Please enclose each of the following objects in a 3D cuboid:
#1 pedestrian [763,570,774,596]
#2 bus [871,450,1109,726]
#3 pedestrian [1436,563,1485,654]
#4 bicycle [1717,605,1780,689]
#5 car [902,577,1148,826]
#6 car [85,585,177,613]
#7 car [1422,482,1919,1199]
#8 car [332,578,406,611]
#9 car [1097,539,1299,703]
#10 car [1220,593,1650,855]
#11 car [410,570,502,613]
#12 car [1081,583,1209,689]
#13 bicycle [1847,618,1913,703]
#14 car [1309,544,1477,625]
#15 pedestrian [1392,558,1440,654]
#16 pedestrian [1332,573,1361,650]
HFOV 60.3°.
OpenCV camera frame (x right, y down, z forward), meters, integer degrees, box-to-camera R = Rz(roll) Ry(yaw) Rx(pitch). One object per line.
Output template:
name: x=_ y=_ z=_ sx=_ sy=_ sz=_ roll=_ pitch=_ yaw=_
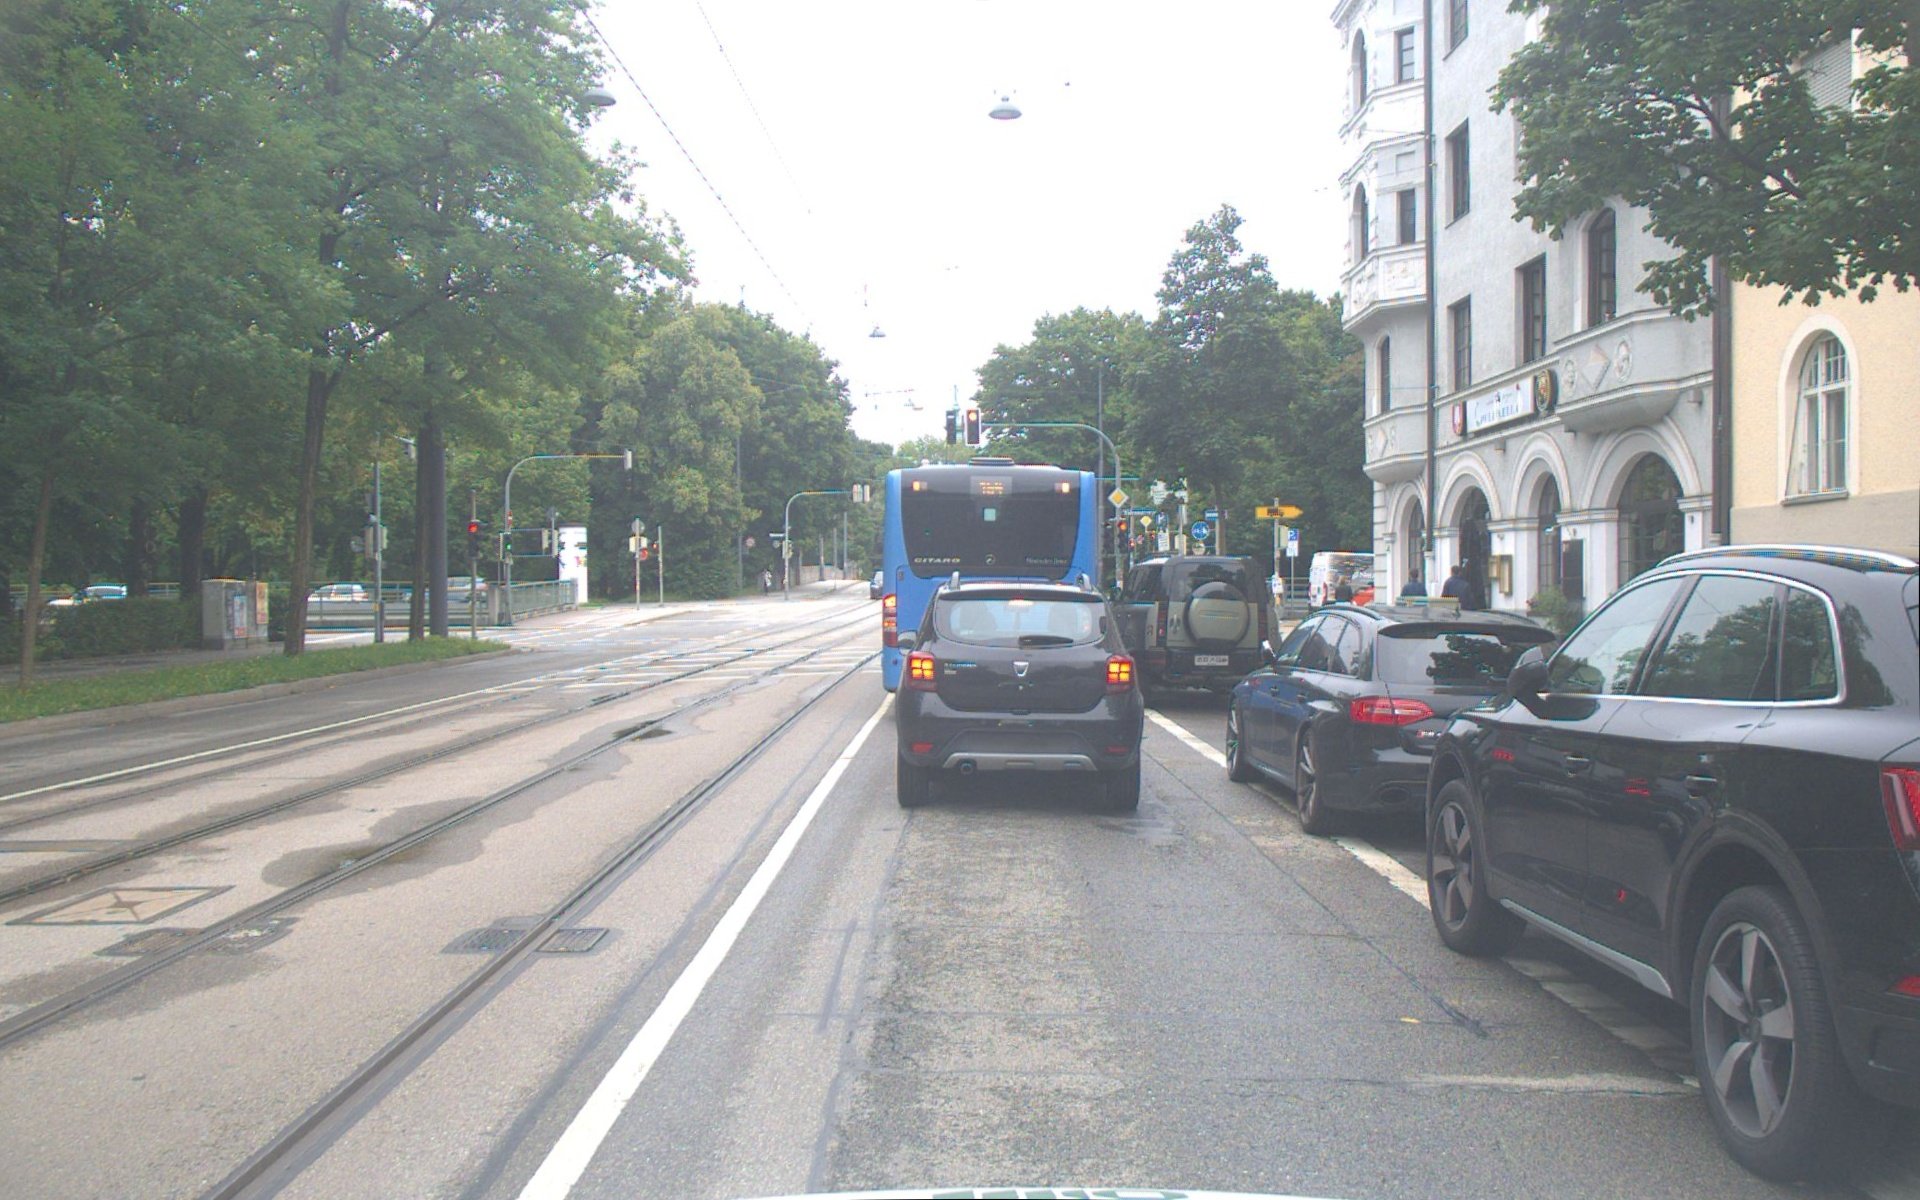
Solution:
pedestrian: x=-11.091 y=-0.975 z=95.750 sx=0.520 sy=1.527 sz=0.588 roll=1 pitch=0 yaw=5
bus: x=0.254 y=-0.152 z=22.067 sx=2.624 sy=3.050 sz=6.959 roll=1 pitch=0 yaw=-2
pedestrian: x=9.917 y=0.168 z=32.783 sx=0.690 sy=1.762 sz=0.843 roll=1 pitch=0 yaw=0
bicycle: x=10.423 y=0.607 z=21.885 sx=0.237 sy=1.057 sz=1.223 roll=1 pitch=0 yaw=0
car: x=0.419 y=0.651 z=12.497 sx=1.568 sy=1.584 sz=3.525 roll=1 pitch=0 yaw=0
car: x=-39.118 y=-0.053 z=78.102 sx=3.655 sy=1.206 sz=1.249 roll=1 pitch=0 yaw=-5
car: x=3.028 y=0.585 z=5.571 sx=1.738 sy=1.687 sz=4.488 roll=1 pitch=0 yaw=1
car: x=-28.125 y=-0.252 z=78.723 sx=3.049 sy=1.477 sz=1.249 roll=1 pitch=0 yaw=-5
car: x=3.070 y=0.247 z=22.349 sx=1.875 sy=1.939 sz=4.806 roll=1 pitch=0 yaw=-2
car: x=3.060 y=0.693 z=11.689 sx=1.681 sy=1.451 sz=4.602 roll=1 pitch=0 yaw=0
car: x=-24.057 y=-0.411 z=79.067 sx=3.945 sy=1.920 sz=1.488 roll=1 pitch=0 yaw=-6
car: x=3.059 y=0.549 z=28.044 sx=1.679 sy=1.619 sz=4.327 roll=1 pitch=0 yaw=0
bicycle: x=10.677 y=0.694 z=19.206 sx=0.279 sy=0.947 sz=0.886 roll=1 pitch=0 yaw=1
car: x=14.932 y=-0.533 z=57.230 sx=5.189 sy=2.658 sz=2.230 roll=1 pitch=0 yaw=-3
pedestrian: x=9.026 y=0.114 z=32.767 sx=0.690 sy=1.848 sz=0.870 roll=1 pitch=0 yaw=0
pedestrian: x=10.374 y=0.305 z=44.400 sx=0.658 sy=2.049 sz=0.717 roll=1 pitch=0 yaw=8
